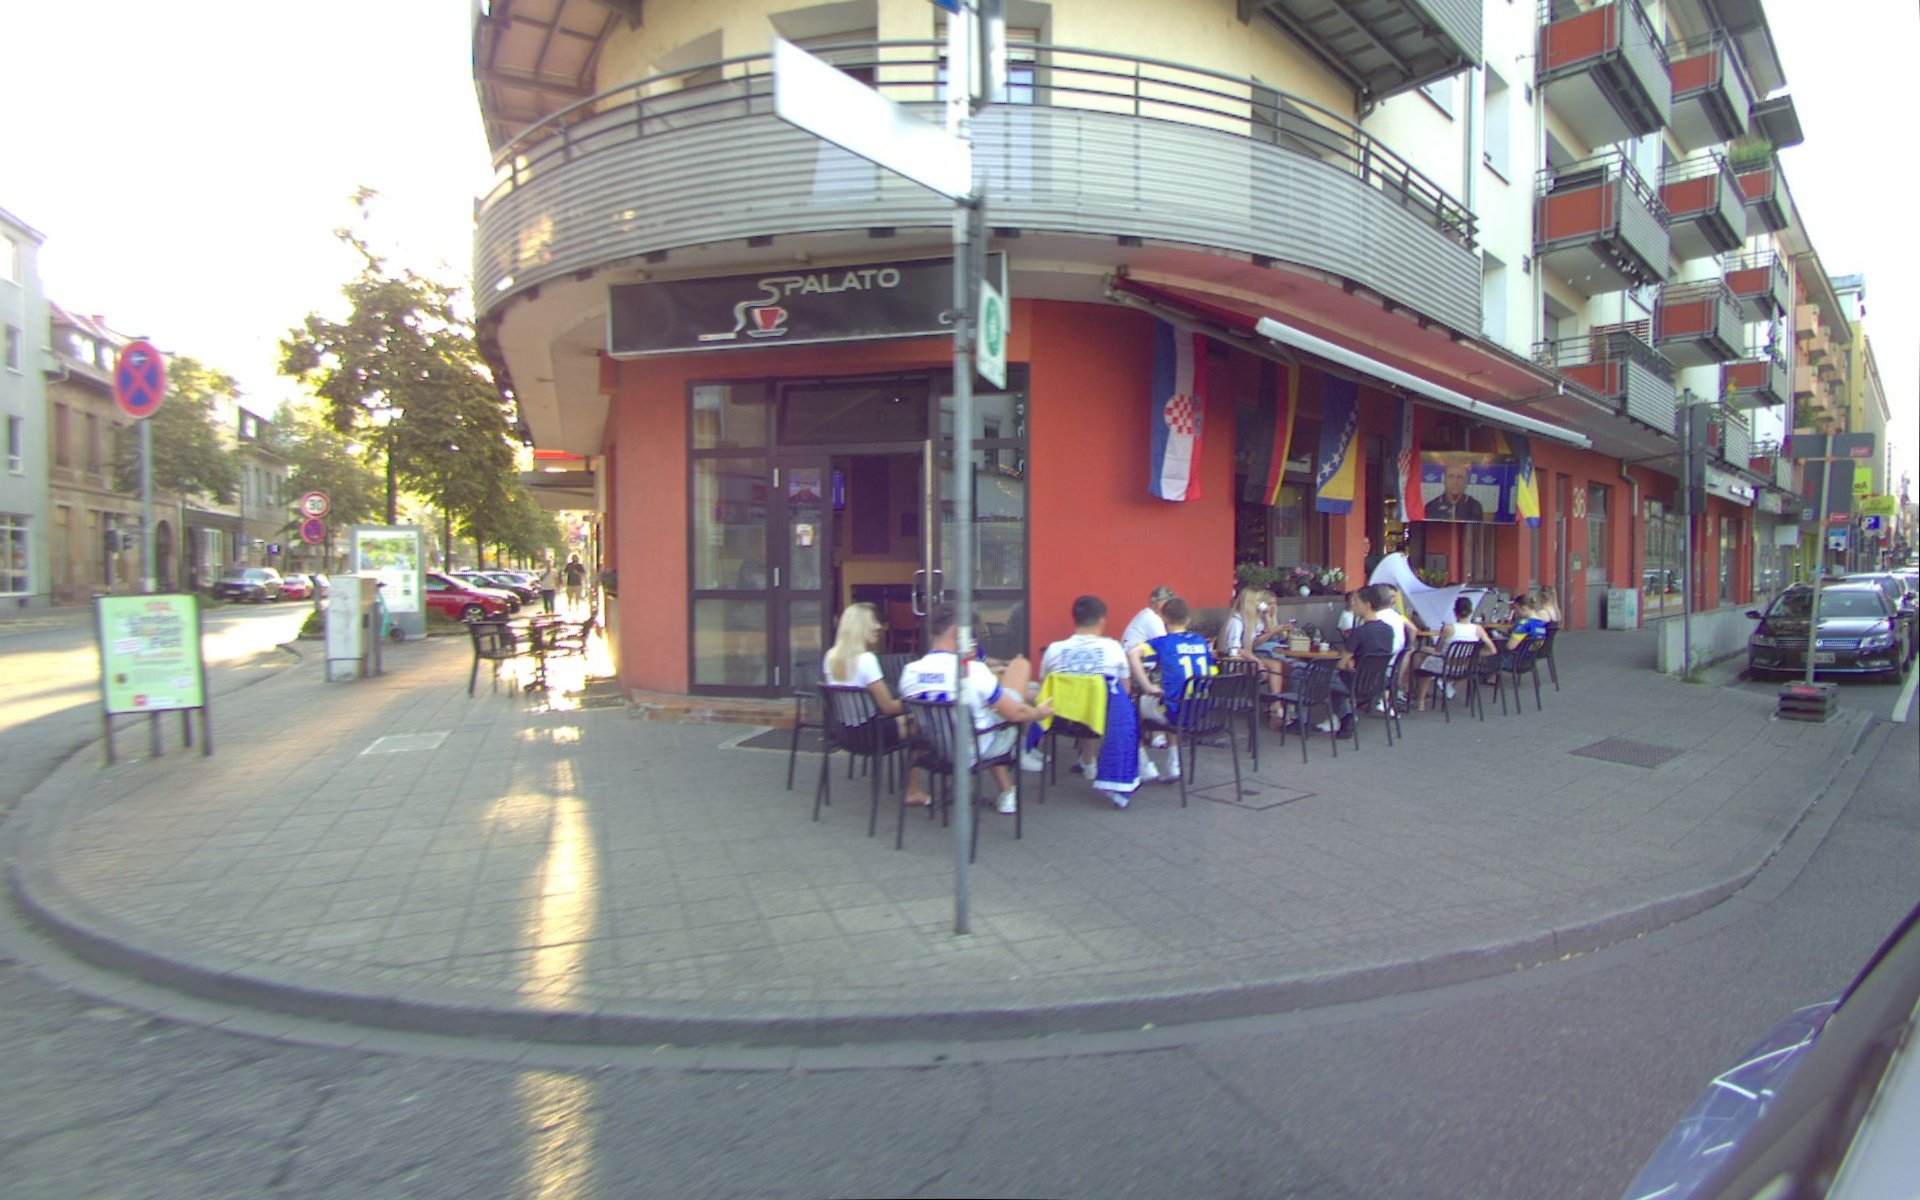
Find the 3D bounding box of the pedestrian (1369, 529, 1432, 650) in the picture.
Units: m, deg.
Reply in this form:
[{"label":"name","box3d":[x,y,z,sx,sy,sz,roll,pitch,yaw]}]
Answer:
[{"label":"pedestrian","box3d":[7.636,-0.196,17.552,0.799,2.039,0.670,-1,1,-34]}]

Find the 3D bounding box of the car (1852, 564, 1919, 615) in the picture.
[{"label":"car","box3d":[29.453,-0.348,31.677,4.321,1.495,1.864,-2,1,-43]}]

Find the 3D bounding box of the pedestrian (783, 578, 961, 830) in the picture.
[{"label":"pedestrian","box3d":[-0.485,0.541,5.909,0.677,1.297,0.962,0,3,20]}]

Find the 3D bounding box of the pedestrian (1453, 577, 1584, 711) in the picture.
[{"label":"pedestrian","box3d":[5.960,0.437,10.824,0.835,1.321,0.880,-1,3,-25]}]

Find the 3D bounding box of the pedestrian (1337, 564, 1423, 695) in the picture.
[{"label":"pedestrian","box3d":[4.795,0.318,11.559,0.712,1.439,0.592,-1,0,45]}]

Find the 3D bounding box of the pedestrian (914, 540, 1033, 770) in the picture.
[{"label":"pedestrian","box3d":[0.117,0.374,7.341,0.703,1.555,0.850,-1,0,11]}]

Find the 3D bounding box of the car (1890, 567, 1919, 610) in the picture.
[{"label":"car","box3d":[35.172,-0.452,36.609,4.229,1.495,1.894,-2,1,-43]}]

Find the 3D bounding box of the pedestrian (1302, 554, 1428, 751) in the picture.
[{"label":"pedestrian","box3d":[3.458,0.403,8.641,0.712,1.554,0.748,5,4,41]}]

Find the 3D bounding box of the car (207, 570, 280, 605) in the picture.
[{"label":"car","box3d":[-34.590,-0.641,48.969,1.958,1.571,4.009,-1,2,-22]}]

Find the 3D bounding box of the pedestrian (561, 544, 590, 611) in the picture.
[{"label":"pedestrian","box3d":[-11.666,-0.685,30.676,0.715,1.972,0.806,-1,1,-26]}]

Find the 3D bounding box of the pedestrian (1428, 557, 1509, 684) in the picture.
[{"label":"pedestrian","box3d":[6.467,0.251,12.913,0.843,1.555,0.709,-1,0,24]}]

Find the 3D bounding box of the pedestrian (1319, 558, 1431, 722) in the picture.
[{"label":"pedestrian","box3d":[4.154,0.375,10.136,0.850,1.555,0.669,-1,0,42]}]

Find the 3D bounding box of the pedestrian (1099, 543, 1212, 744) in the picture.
[{"label":"pedestrian","box3d":[1.582,0.330,8.290,0.635,1.555,0.754,-1,0,-12]}]

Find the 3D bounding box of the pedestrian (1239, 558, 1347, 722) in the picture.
[{"label":"pedestrian","box3d":[3.277,0.355,9.951,0.767,1.523,0.771,1,1,43]}]

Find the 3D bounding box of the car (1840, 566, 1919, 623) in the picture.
[{"label":"car","box3d":[26.309,-0.180,28.660,3.883,1.495,1.764,-2,1,-44]}]

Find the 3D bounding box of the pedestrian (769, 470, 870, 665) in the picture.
[{"label":"pedestrian","box3d":[-1.554,-0.353,11.172,0.845,2.039,0.815,-1,1,-30]}]

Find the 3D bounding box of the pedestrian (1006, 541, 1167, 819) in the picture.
[{"label":"pedestrian","box3d":[0.749,0.432,6.116,0.675,1.555,0.716,-1,2,-28]}]

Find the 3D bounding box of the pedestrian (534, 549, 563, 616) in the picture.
[{"label":"pedestrian","box3d":[-12.287,-0.536,30.236,0.715,1.972,0.742,-1,1,-26]}]

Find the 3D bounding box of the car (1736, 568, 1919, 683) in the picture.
[{"label":"car","box3d":[13.959,0.305,16.057,4.553,1.571,1.876,-2,1,-43]}]

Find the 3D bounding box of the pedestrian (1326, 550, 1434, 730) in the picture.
[{"label":"pedestrian","box3d":[3.862,0.336,9.309,0.648,1.545,0.690,5,4,41]}]

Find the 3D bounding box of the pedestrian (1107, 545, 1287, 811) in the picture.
[{"label":"pedestrian","box3d":[1.534,0.446,6.559,0.839,1.554,0.713,-1,6,-43]}]

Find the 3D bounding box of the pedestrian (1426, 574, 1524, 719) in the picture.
[{"label":"pedestrian","box3d":[5.167,0.435,10.144,0.653,1.361,0.738,4,3,43]}]

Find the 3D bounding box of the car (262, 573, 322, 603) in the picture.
[{"label":"car","box3d":[-36.725,-0.712,55.756,1.958,1.571,4.009,-1,2,-22]}]

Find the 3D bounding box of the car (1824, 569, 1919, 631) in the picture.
[{"label":"car","box3d":[22.550,-0.037,24.928,1.747,1.421,3.906,-1,1,43]}]

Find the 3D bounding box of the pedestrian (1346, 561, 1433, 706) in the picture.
[{"label":"pedestrian","box3d":[4.527,0.328,10.676,0.665,1.451,0.552,3,3,43]}]

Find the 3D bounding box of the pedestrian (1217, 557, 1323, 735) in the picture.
[{"label":"pedestrian","box3d":[2.874,0.391,9.382,0.673,1.554,0.644,4,3,43]}]

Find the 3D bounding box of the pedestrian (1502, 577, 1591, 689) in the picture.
[{"label":"pedestrian","box3d":[7.257,0.379,12.561,0.843,1.293,0.709,1,4,24]}]

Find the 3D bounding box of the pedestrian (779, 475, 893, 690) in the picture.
[{"label":"pedestrian","box3d":[-1.258,-0.180,10.207,0.838,2.039,0.913,-1,1,-30]}]

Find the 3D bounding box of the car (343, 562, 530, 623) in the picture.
[{"label":"car","box3d":[-14.143,-0.249,27.641,4.352,1.560,1.821,-1,2,-22]}]

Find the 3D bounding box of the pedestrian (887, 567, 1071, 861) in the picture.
[{"label":"pedestrian","box3d":[0.126,0.535,5.392,0.761,1.399,0.834,1,2,20]}]

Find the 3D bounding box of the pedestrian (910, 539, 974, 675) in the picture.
[{"label":"pedestrian","box3d":[-0.246,0.083,13.764,0.610,1.799,0.608,0,1,43]}]

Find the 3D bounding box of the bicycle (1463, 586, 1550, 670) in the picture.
[{"label":"bicycle","box3d":[7.832,0.361,14.456,0.549,1.101,1.973,-1,0,45]}]

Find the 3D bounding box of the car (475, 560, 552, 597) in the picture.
[{"label":"car","box3d":[-25.587,-1.252,58.058,3.917,2.038,2.004,-1,2,-24]}]

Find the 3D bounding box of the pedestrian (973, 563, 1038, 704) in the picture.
[{"label":"pedestrian","box3d":[0.603,0.421,13.305,0.609,1.799,0.609,0,1,38]}]

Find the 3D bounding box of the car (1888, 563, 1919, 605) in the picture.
[{"label":"car","box3d":[39.035,-0.685,40.724,4.291,1.636,1.997,-2,1,-41]}]

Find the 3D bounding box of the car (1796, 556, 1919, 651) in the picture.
[{"label":"car","box3d":[18.239,0.016,20.291,4.070,1.721,1.880,-2,1,-45]}]
